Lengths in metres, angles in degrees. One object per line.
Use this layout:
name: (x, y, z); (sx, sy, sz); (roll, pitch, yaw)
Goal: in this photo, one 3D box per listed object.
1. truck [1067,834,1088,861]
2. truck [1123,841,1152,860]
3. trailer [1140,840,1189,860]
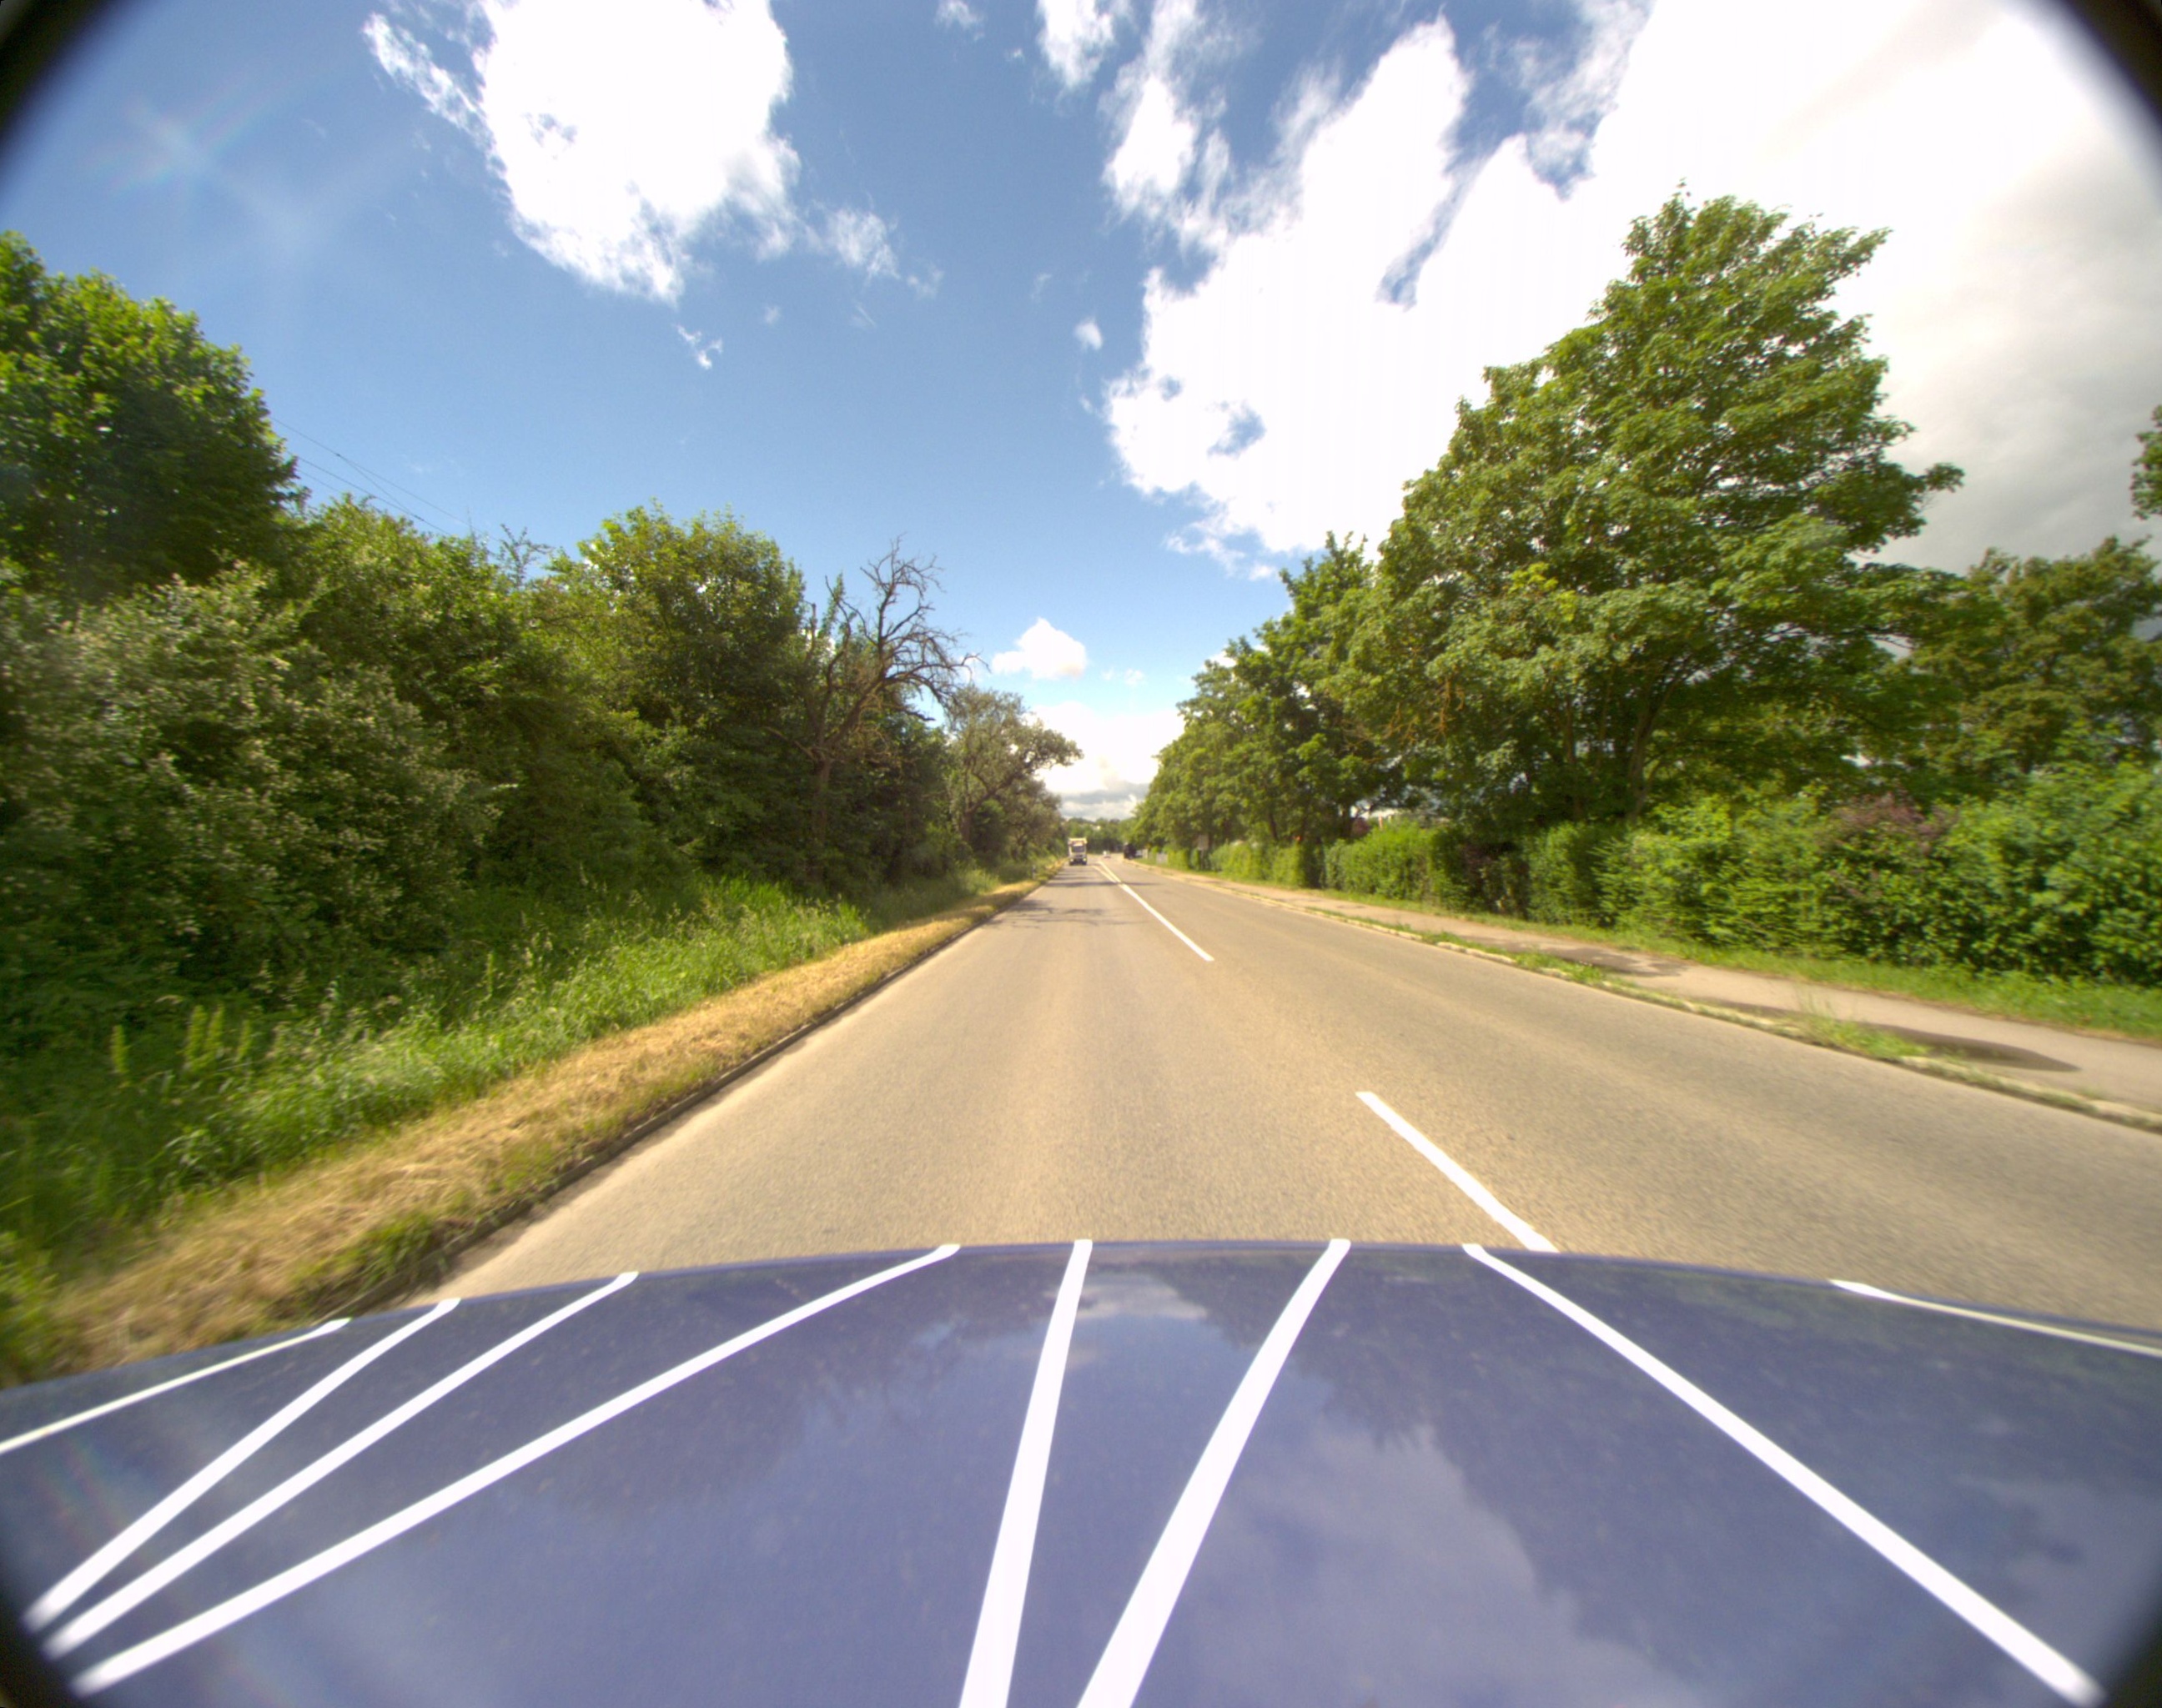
truck: (-0.426, -0.944, 109.598); (2.905, 3.746, 9.633); (0, 1, 0)
truck: (11.650, -0.744, 157.303); (5.570, 3.802, 2.983); (0, 1, -4)
trailer: (17.431, -0.826, 158.442); (9.472, 4.059, 3.315); (0, 1, -15)
